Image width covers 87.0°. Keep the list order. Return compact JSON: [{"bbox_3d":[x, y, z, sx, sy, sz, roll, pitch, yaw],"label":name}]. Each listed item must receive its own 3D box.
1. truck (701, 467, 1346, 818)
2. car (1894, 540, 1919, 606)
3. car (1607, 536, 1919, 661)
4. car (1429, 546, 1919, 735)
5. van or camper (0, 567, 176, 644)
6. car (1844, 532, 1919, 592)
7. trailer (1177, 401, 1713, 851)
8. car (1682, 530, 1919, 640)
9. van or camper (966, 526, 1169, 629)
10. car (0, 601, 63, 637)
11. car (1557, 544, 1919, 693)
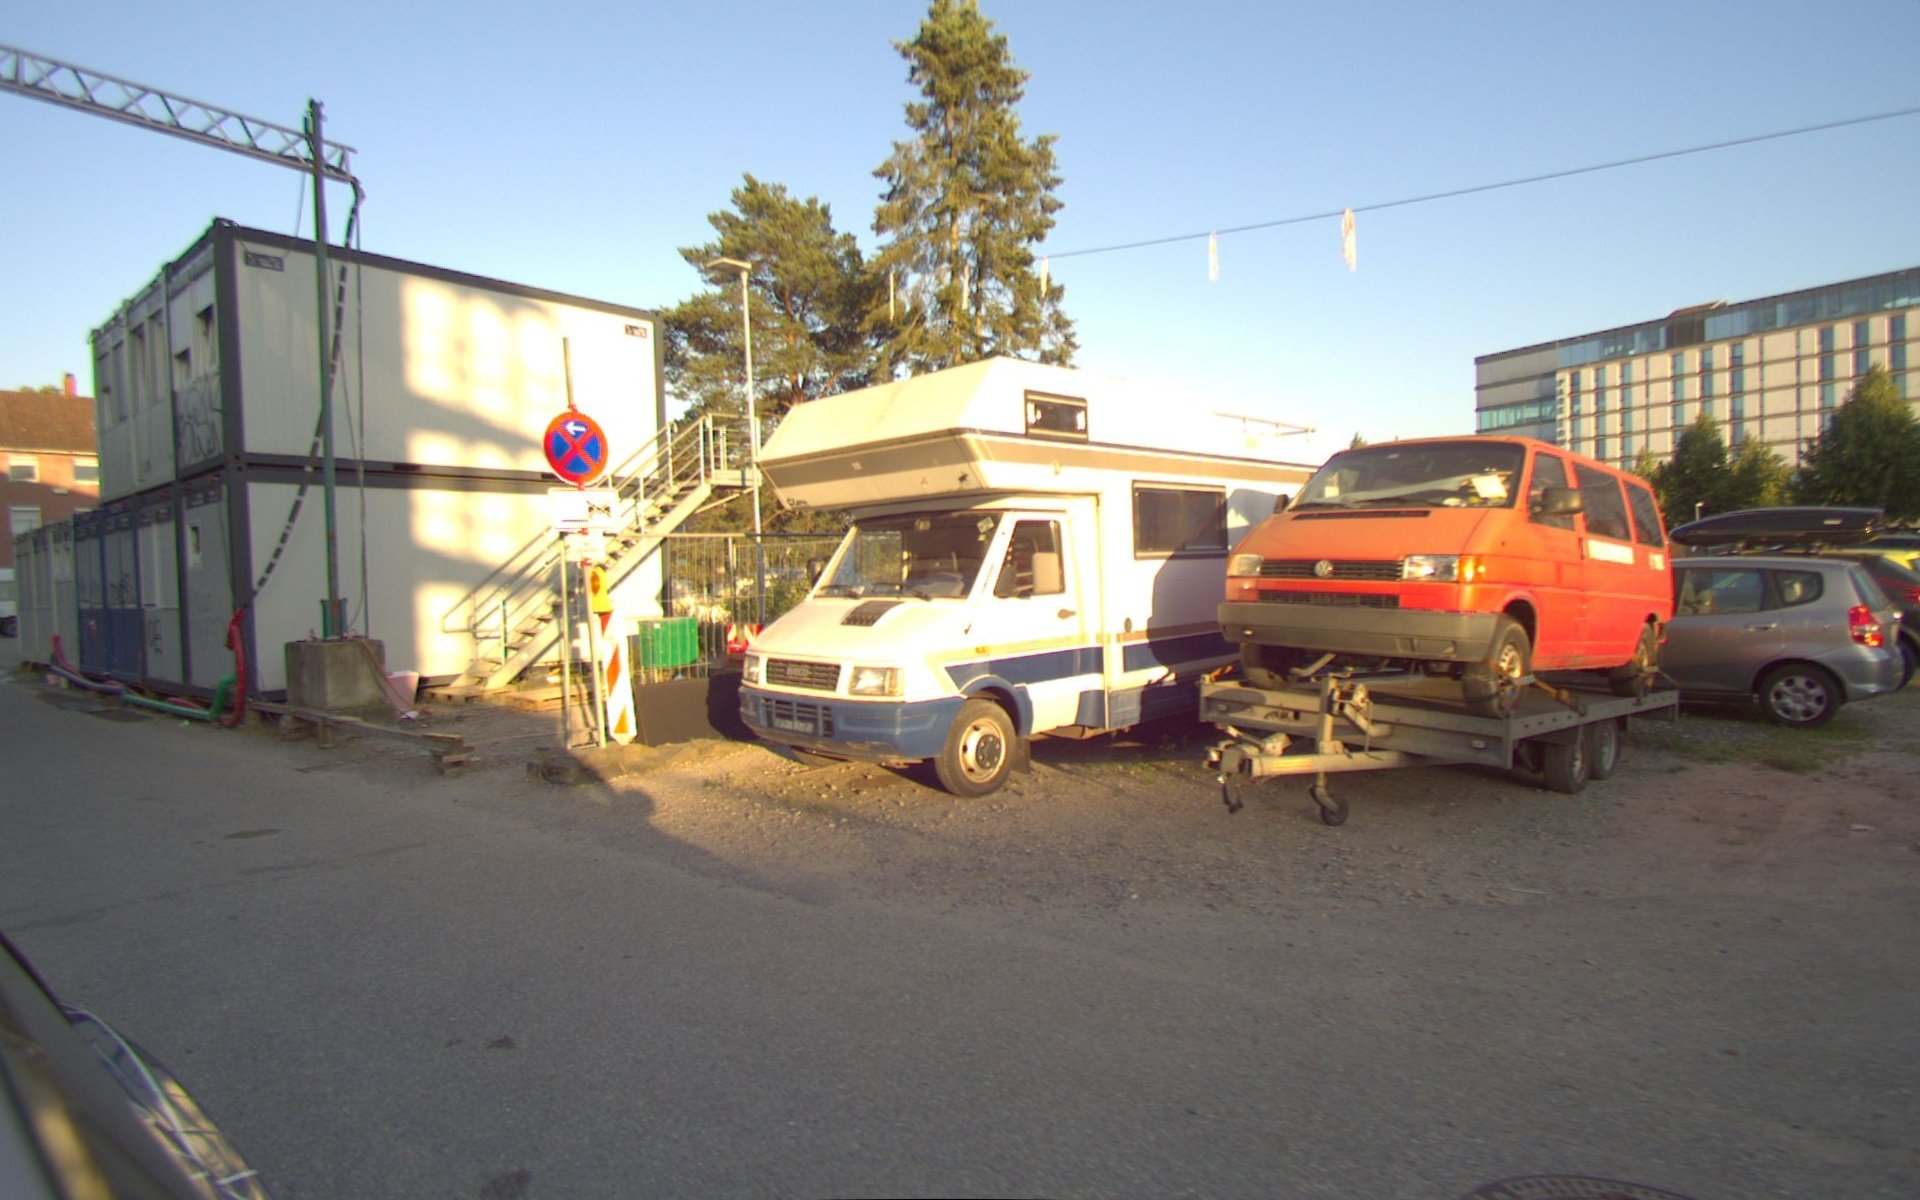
[{"bbox_3d":[0.988,0.150,8.905,2.356,2.058,5.945,-1,2,44],"label":"truck"},{"bbox_3d":[24.060,-0.663,22.960,1.636,1.551,3.949,-2,1,-34],"label":"car"},{"bbox_3d":[11.564,-0.044,14.132,1.822,1.534,3.942,-3,2,-43],"label":"car"},{"bbox_3d":[7.127,0.305,10.233,1.822,1.534,3.942,-3,2,-44],"label":"car"},{"bbox_3d":[-35.897,0.185,40.784,2.407,2.659,6.386,-1,3,42],"label":"van or camper"},{"bbox_3d":[30.893,-1.210,31.482,1.656,1.856,4.851,-2,1,-32],"label":"car"},{"bbox_3d":[3.996,0.005,7.894,4.735,2.450,2.137,-4,4,-42],"label":"trailer"},{"bbox_3d":[14.582,-0.254,16.801,1.822,1.681,3.942,-3,2,-43],"label":"car"},{"bbox_3d":[3.088,-0.635,30.182,5.801,2.791,2.231,0,2,44],"label":"van or camper"},{"bbox_3d":[-45.168,0.956,48.005,1.809,1.527,3.678,-1,3,43],"label":"car"},{"bbox_3d":[9.591,0.167,12.049,1.822,1.534,3.942,-3,2,-44],"label":"car"}]
